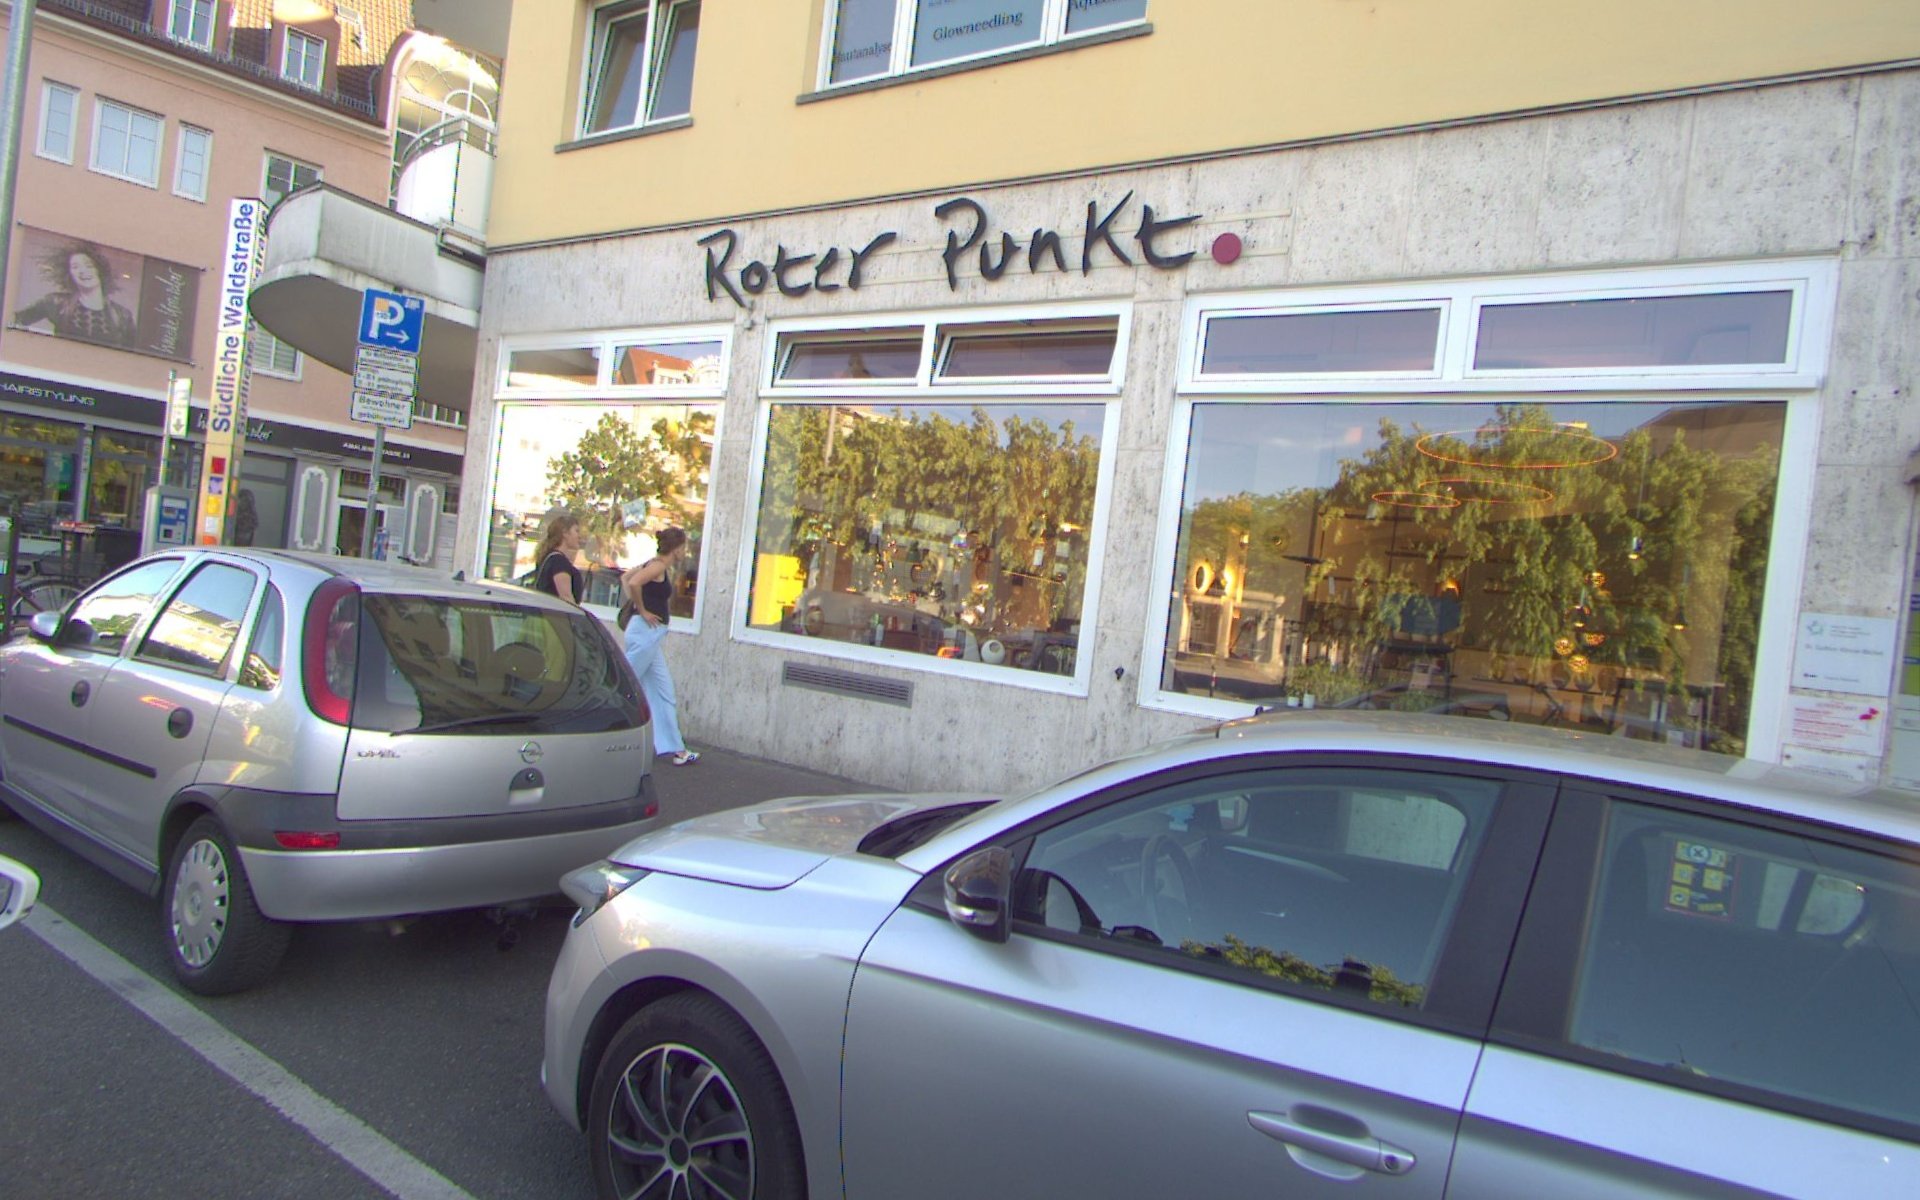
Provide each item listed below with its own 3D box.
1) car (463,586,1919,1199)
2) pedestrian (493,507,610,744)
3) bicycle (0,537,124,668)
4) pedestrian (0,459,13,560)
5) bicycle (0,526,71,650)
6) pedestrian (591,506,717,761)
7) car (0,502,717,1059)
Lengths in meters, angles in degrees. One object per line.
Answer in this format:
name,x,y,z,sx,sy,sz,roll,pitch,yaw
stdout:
car,0.771,0.921,2.261,3.598,1.444,1.550,6,-1,30
pedestrian,-3.329,0.201,8.185,0.562,1.805,0.736,7,0,-33
bicycle,-8.083,0.001,8.199,0.348,1.051,1.871,6,1,38
pedestrian,-12.487,-0.924,12.501,0.823,1.785,0.751,6,-1,36
bicycle,-9.109,-0.152,8.824,0.408,1.101,1.872,6,1,35
pedestrian,-2.193,0.236,7.181,0.638,1.685,0.656,7,0,-20
car,-2.929,0.481,4.431,3.419,1.407,1.548,8,0,33
